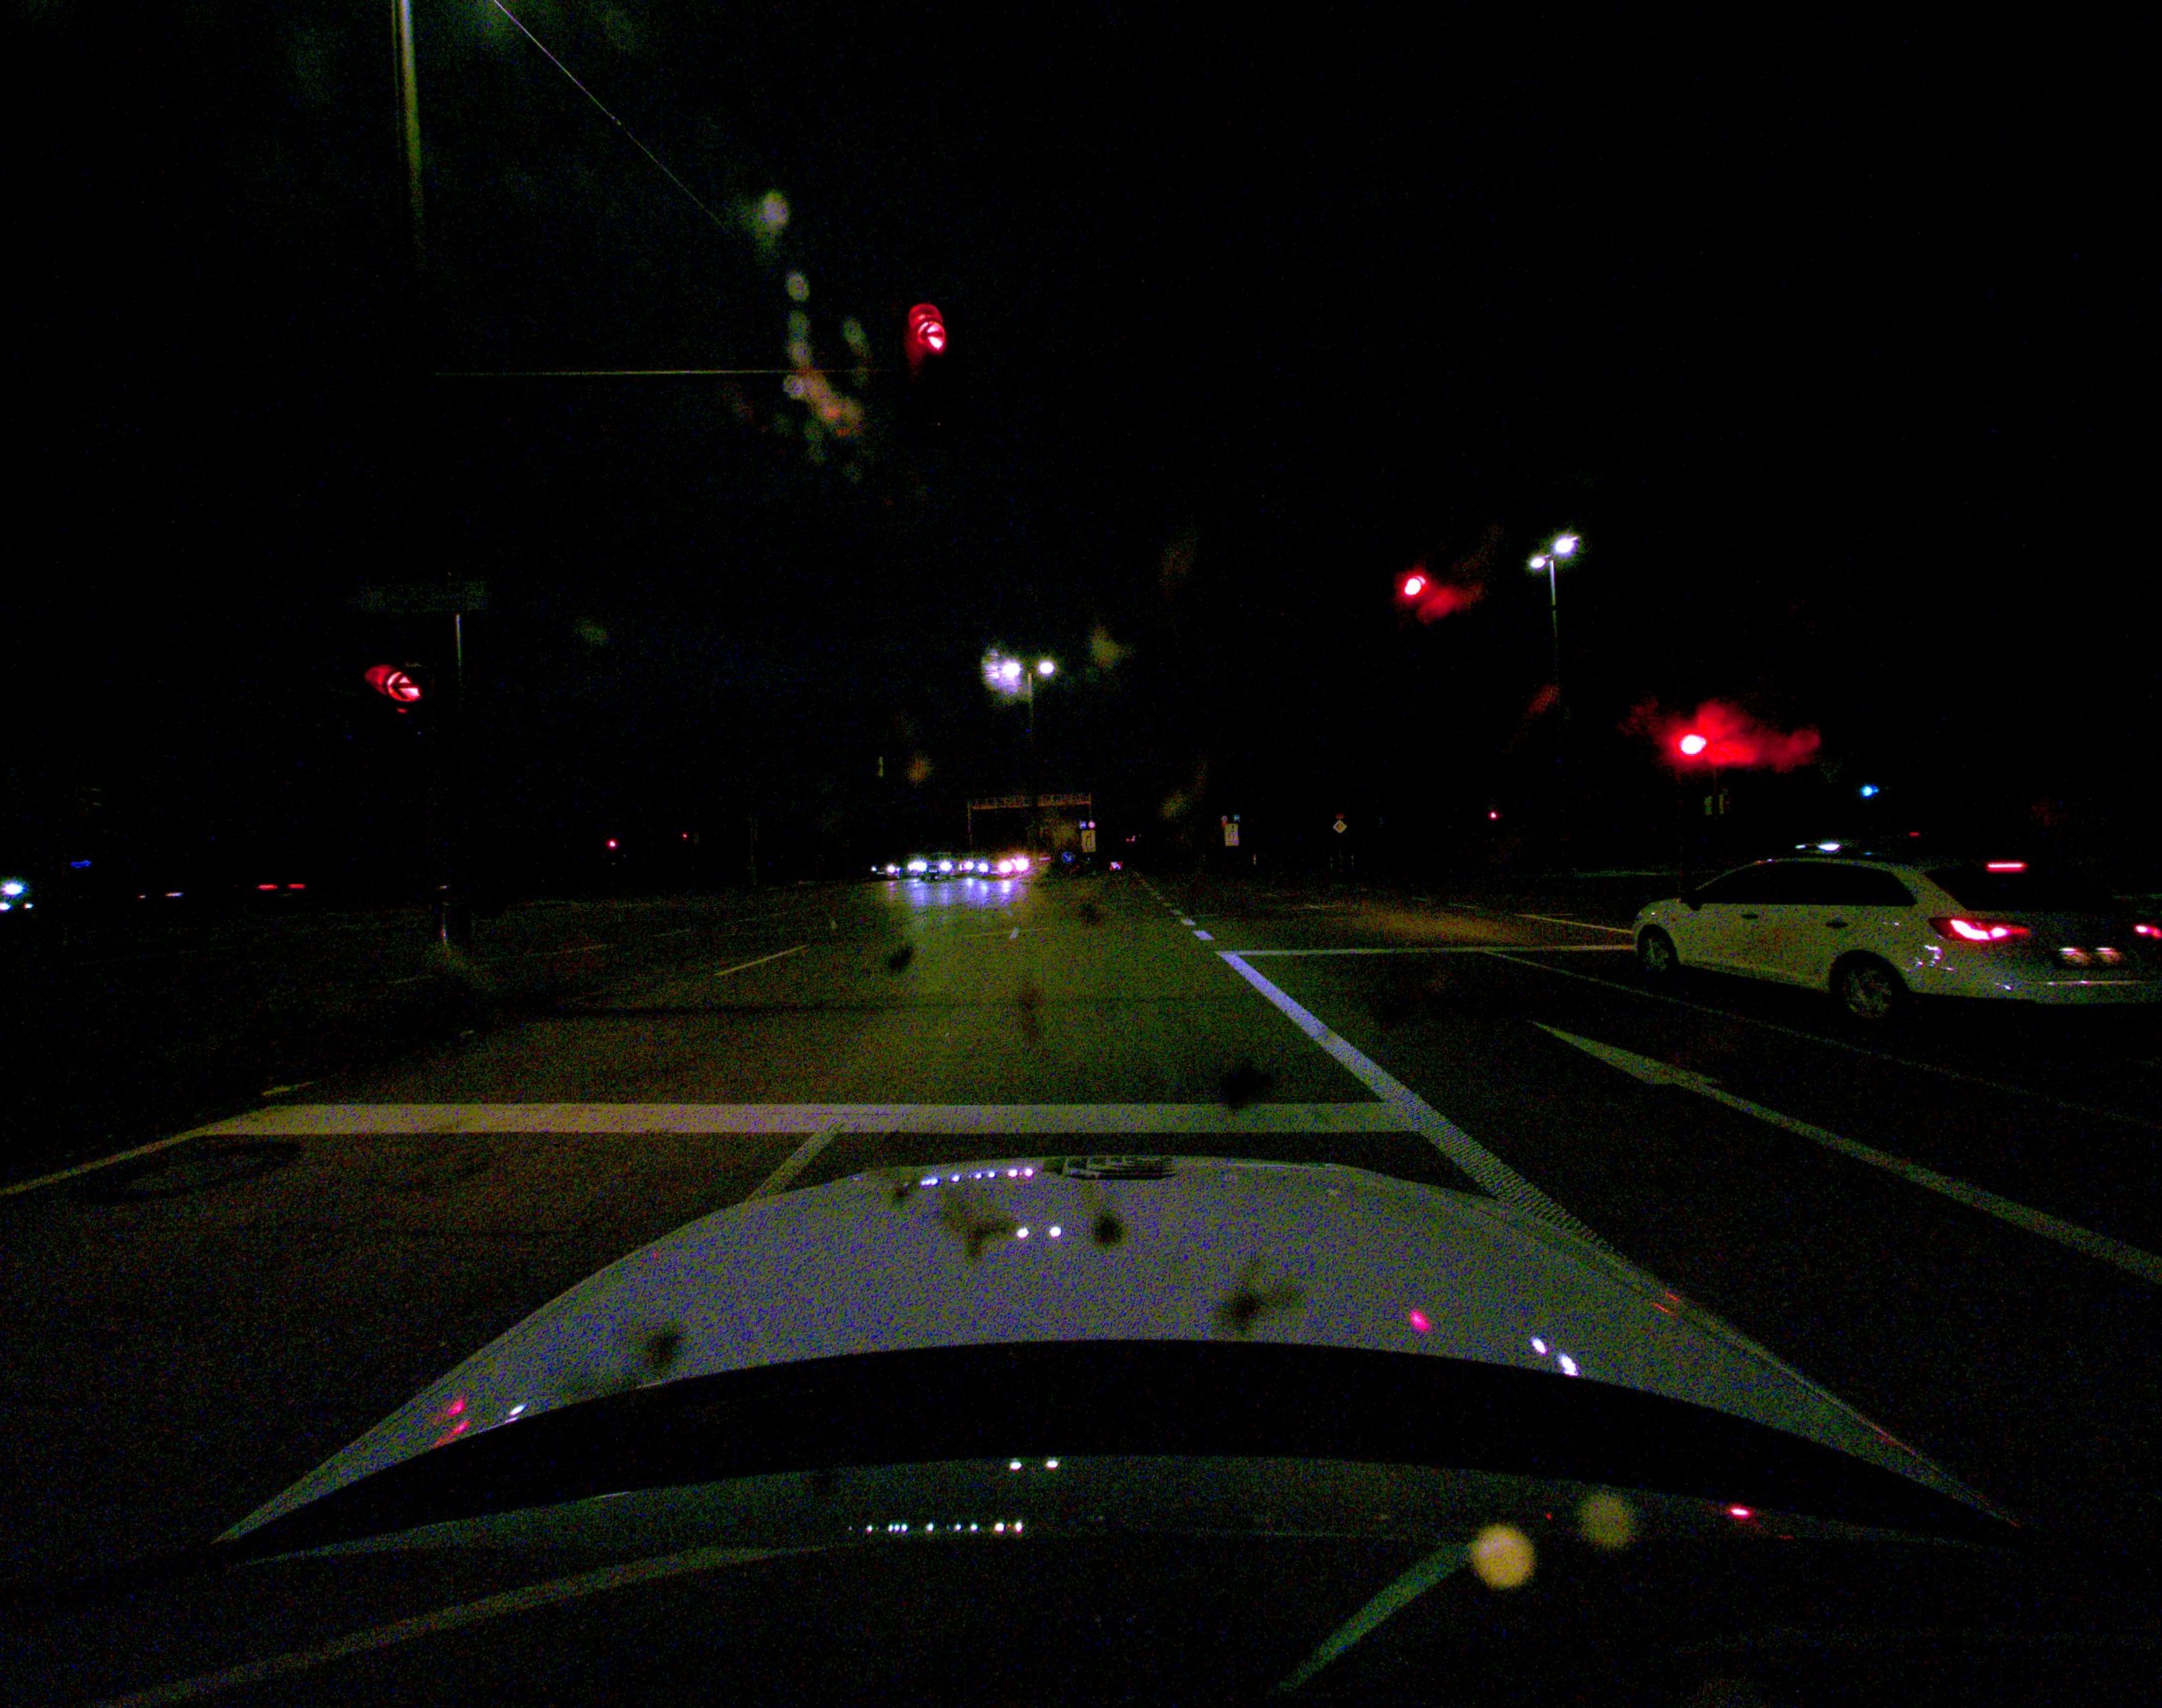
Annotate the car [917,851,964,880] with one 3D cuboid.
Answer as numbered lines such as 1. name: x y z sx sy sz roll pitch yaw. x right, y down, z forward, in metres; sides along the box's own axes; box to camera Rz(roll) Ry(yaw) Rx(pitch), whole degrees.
1. car: -8.738 0.664 50.961 1.900 1.682 4.424 -1 1 4

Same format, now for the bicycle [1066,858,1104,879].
1. bicycle: 0.208 0.798 44.700 2.057 1.101 0.694 -1 0 -4

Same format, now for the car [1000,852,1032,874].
1. car: -4.671 0.630 59.010 1.765 1.481 3.914 -1 0 4

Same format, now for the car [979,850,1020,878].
1. car: -5.079 0.587 51.074 1.844 1.633 4.589 -1 1 3

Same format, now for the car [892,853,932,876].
1. car: -12.046 0.736 58.219 1.824 1.524 4.003 -2 0 3

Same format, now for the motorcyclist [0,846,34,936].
1. motorcyclist: -24.688 0.835 18.595 0.761 2.013 0.637 -1 0 6

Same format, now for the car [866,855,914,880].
1. car: -12.170 0.814 52.140 1.772 1.445 4.297 -1 1 5

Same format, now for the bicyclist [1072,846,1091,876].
1. bicyclist: 0.024 0.378 44.705 0.995 1.651 0.603 -1 0 -3

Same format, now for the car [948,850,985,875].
1. car: -8.137 0.596 58.348 1.738 1.626 4.367 -1 1 4

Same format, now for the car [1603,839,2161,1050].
1. car: 7.167 0.638 7.826 1.614 1.443 4.117 -2 0 -1

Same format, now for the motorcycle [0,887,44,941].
1. motorcycle: -24.618 1.347 18.352 1.793 1.163 0.674 -1 0 6

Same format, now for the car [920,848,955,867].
1. car: -11.620 0.256 66.148 1.824 1.390 4.401 -2 1 3
